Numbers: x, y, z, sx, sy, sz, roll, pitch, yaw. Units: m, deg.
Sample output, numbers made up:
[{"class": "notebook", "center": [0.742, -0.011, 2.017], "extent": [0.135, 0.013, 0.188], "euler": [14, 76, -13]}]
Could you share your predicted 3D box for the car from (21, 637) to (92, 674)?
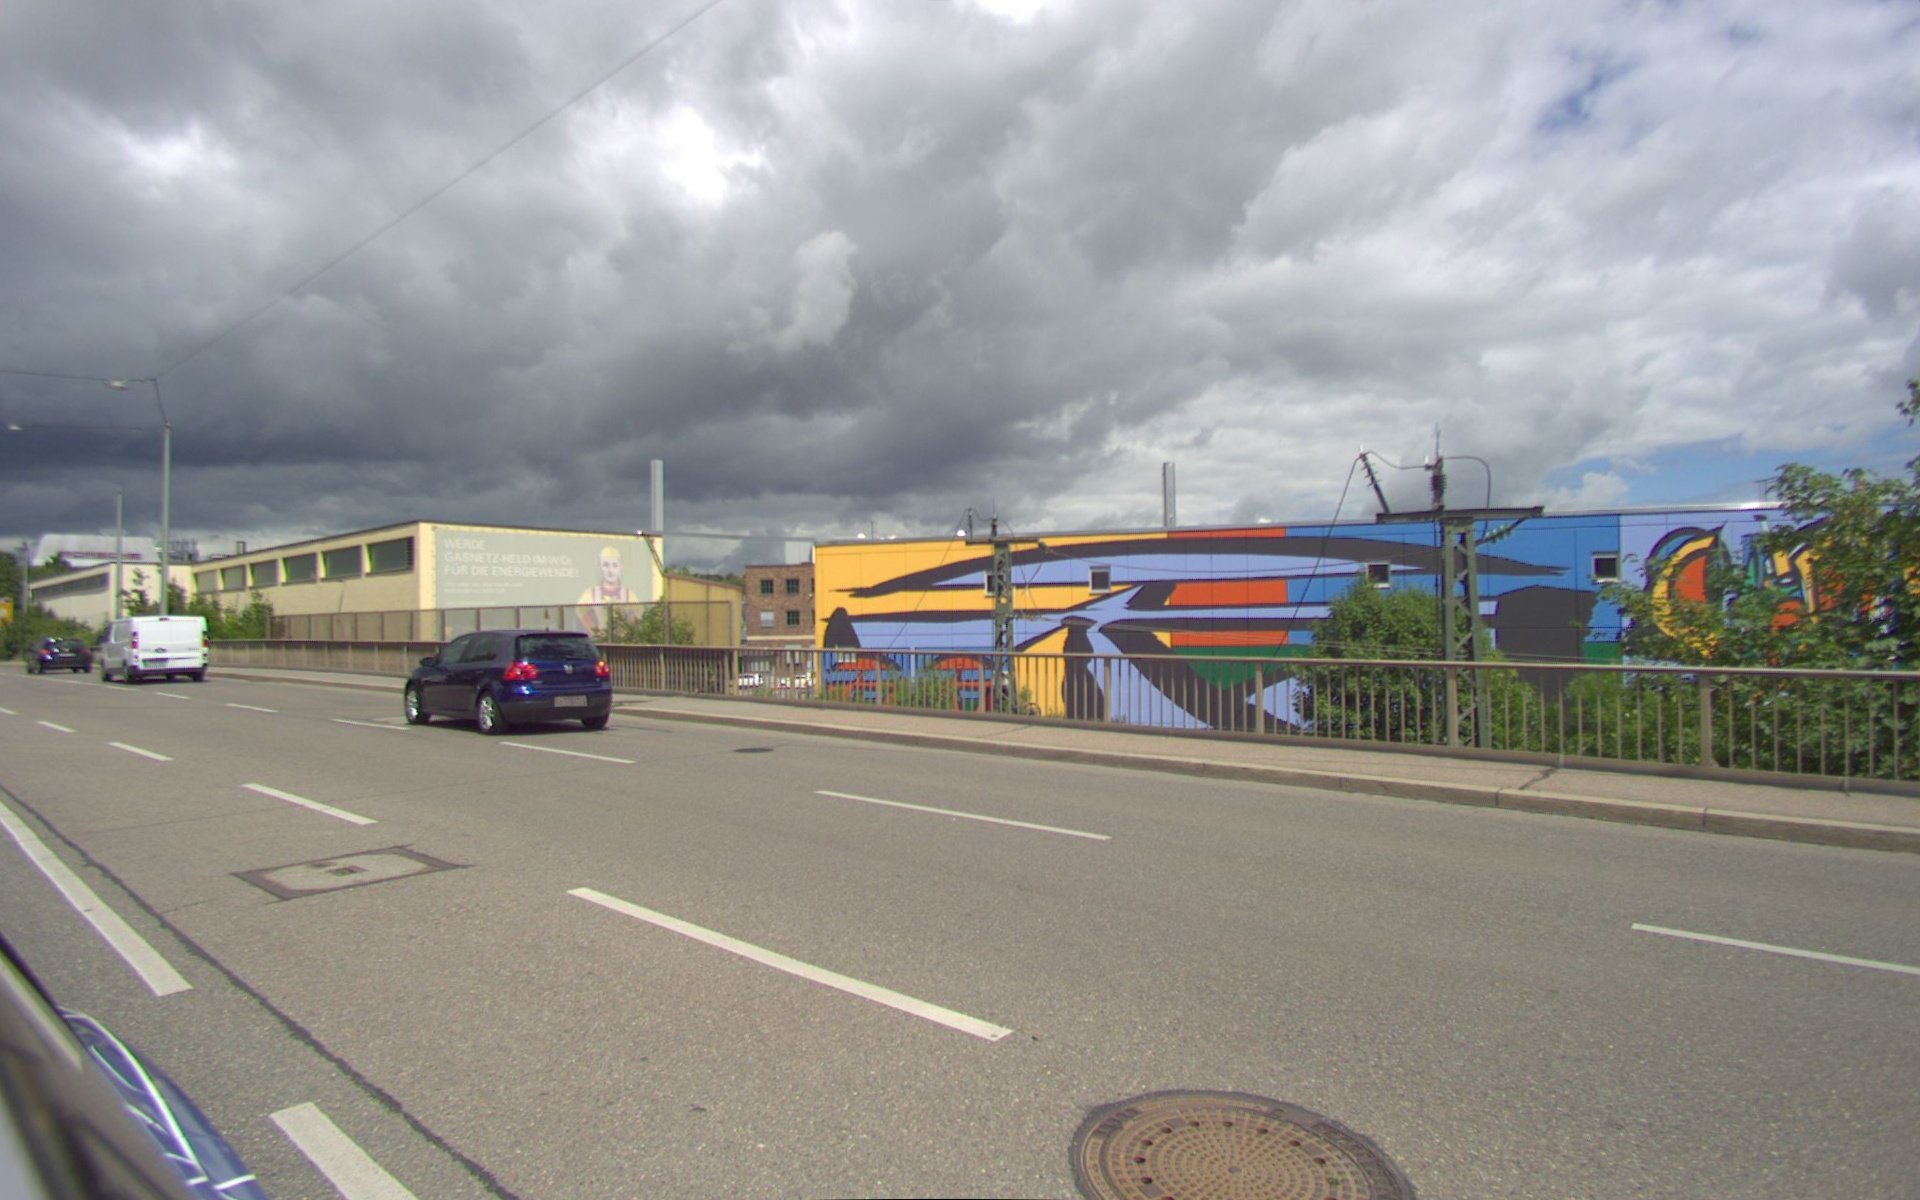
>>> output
[{"class": "car", "center": [-36.993, 2.246, 41.400], "extent": [3.795, 1.423, 1.592], "euler": [-2, -1, 39]}]

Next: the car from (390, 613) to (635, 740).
[{"class": "car", "center": [-6.755, 1.051, 15.101], "extent": [3.998, 1.630, 1.837], "euler": [-2, -2, 41]}]

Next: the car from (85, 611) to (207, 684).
[{"class": "car", "center": [-24.904, 1.418, 30.889], "extent": [5.645, 2.029, 1.872], "euler": [-2, -1, 40]}]
